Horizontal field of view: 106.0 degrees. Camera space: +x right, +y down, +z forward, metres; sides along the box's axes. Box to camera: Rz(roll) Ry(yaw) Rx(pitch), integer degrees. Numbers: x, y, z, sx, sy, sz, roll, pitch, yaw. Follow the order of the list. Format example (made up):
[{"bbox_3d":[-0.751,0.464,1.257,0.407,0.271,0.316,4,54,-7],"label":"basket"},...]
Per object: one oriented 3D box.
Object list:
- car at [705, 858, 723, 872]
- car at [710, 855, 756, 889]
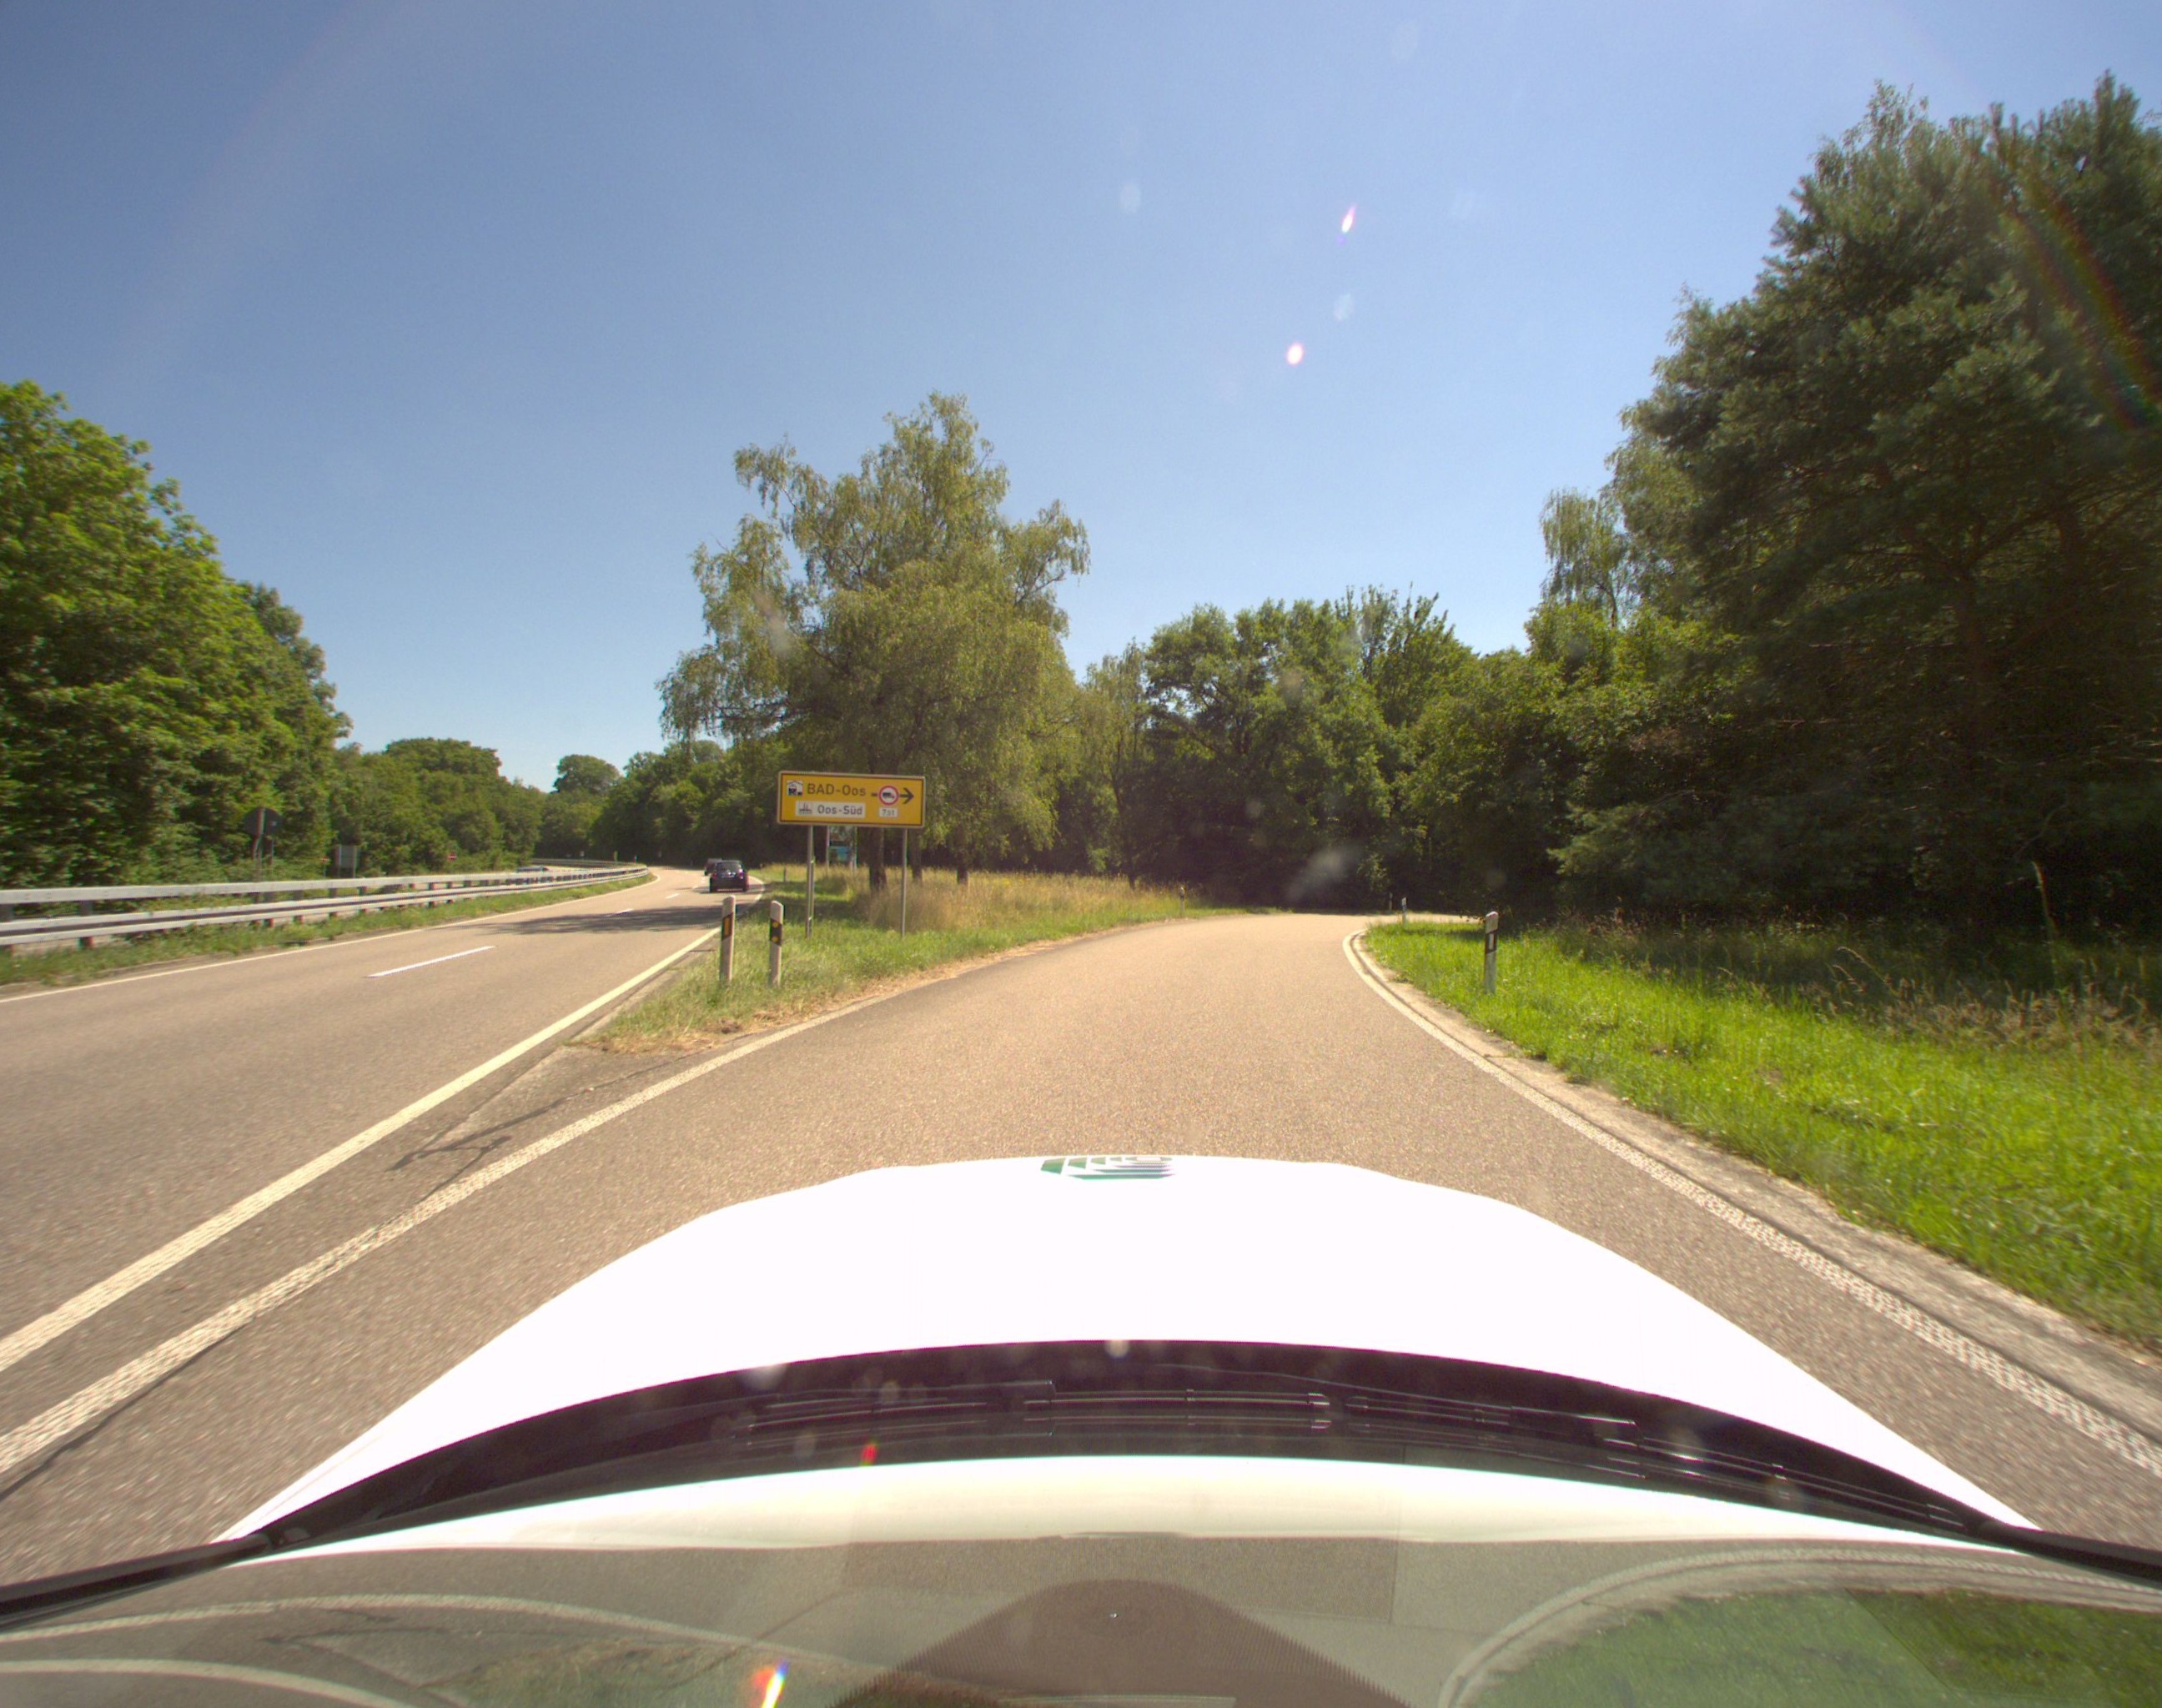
[{"bbox_3d":[-36.438,1.080,80.925,1.531,1.314,3.389,-1,-1,-22],"label":"car"},{"bbox_3d":[-16.481,0.818,38.664,1.516,1.501,3.571,-1,0,-16],"label":"car"}]
